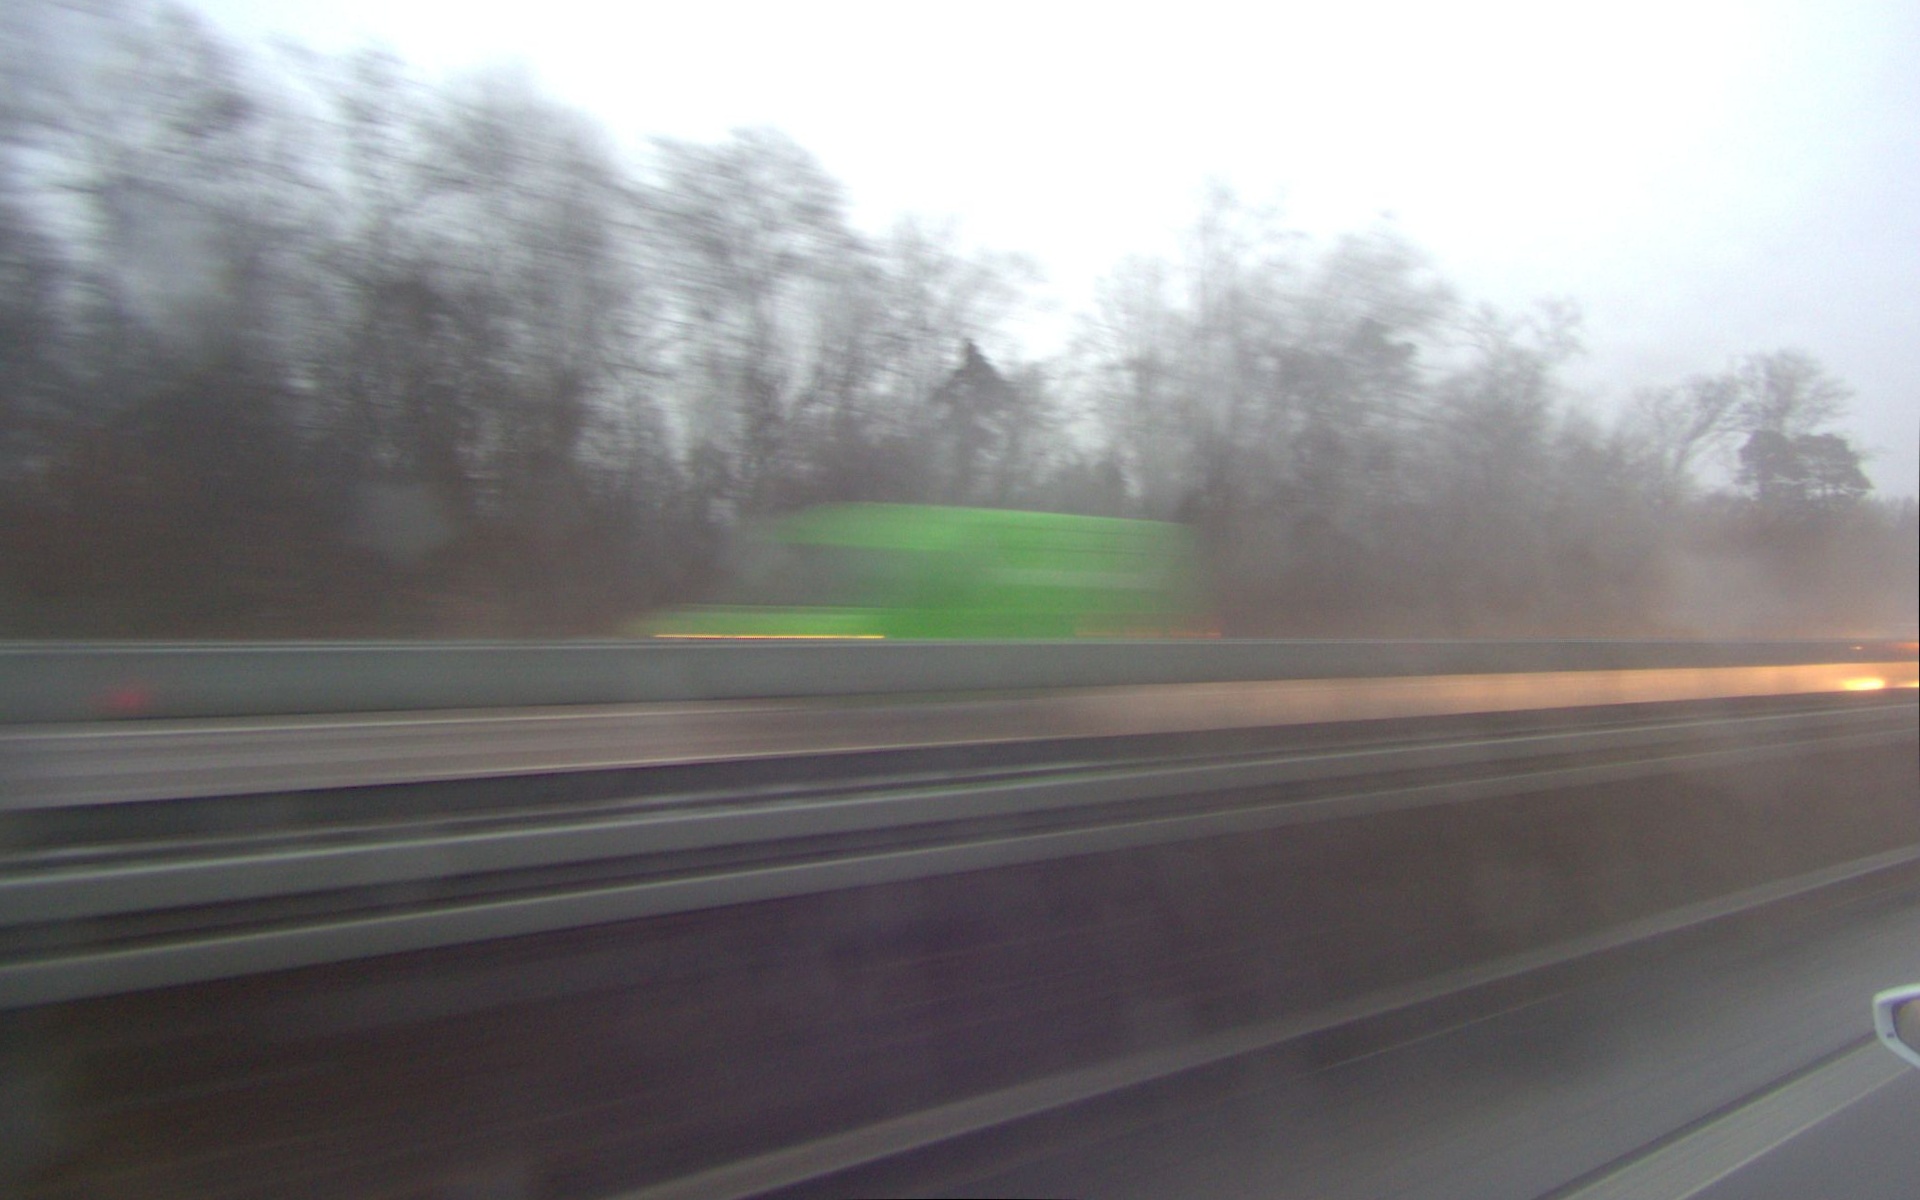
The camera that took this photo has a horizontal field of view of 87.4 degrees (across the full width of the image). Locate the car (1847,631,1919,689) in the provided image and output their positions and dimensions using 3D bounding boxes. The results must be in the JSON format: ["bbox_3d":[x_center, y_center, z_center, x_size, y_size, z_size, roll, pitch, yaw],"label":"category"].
[{"bbox_3d":[26.881,1.705,28.345,3.663,1.437,1.730,3,1,-31],"label":"car"}]

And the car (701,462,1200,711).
[{"bbox_3d":[0.061,-0.086,13.001,6.302,2.602,1.993,1,0,-31],"label":"car"}]
